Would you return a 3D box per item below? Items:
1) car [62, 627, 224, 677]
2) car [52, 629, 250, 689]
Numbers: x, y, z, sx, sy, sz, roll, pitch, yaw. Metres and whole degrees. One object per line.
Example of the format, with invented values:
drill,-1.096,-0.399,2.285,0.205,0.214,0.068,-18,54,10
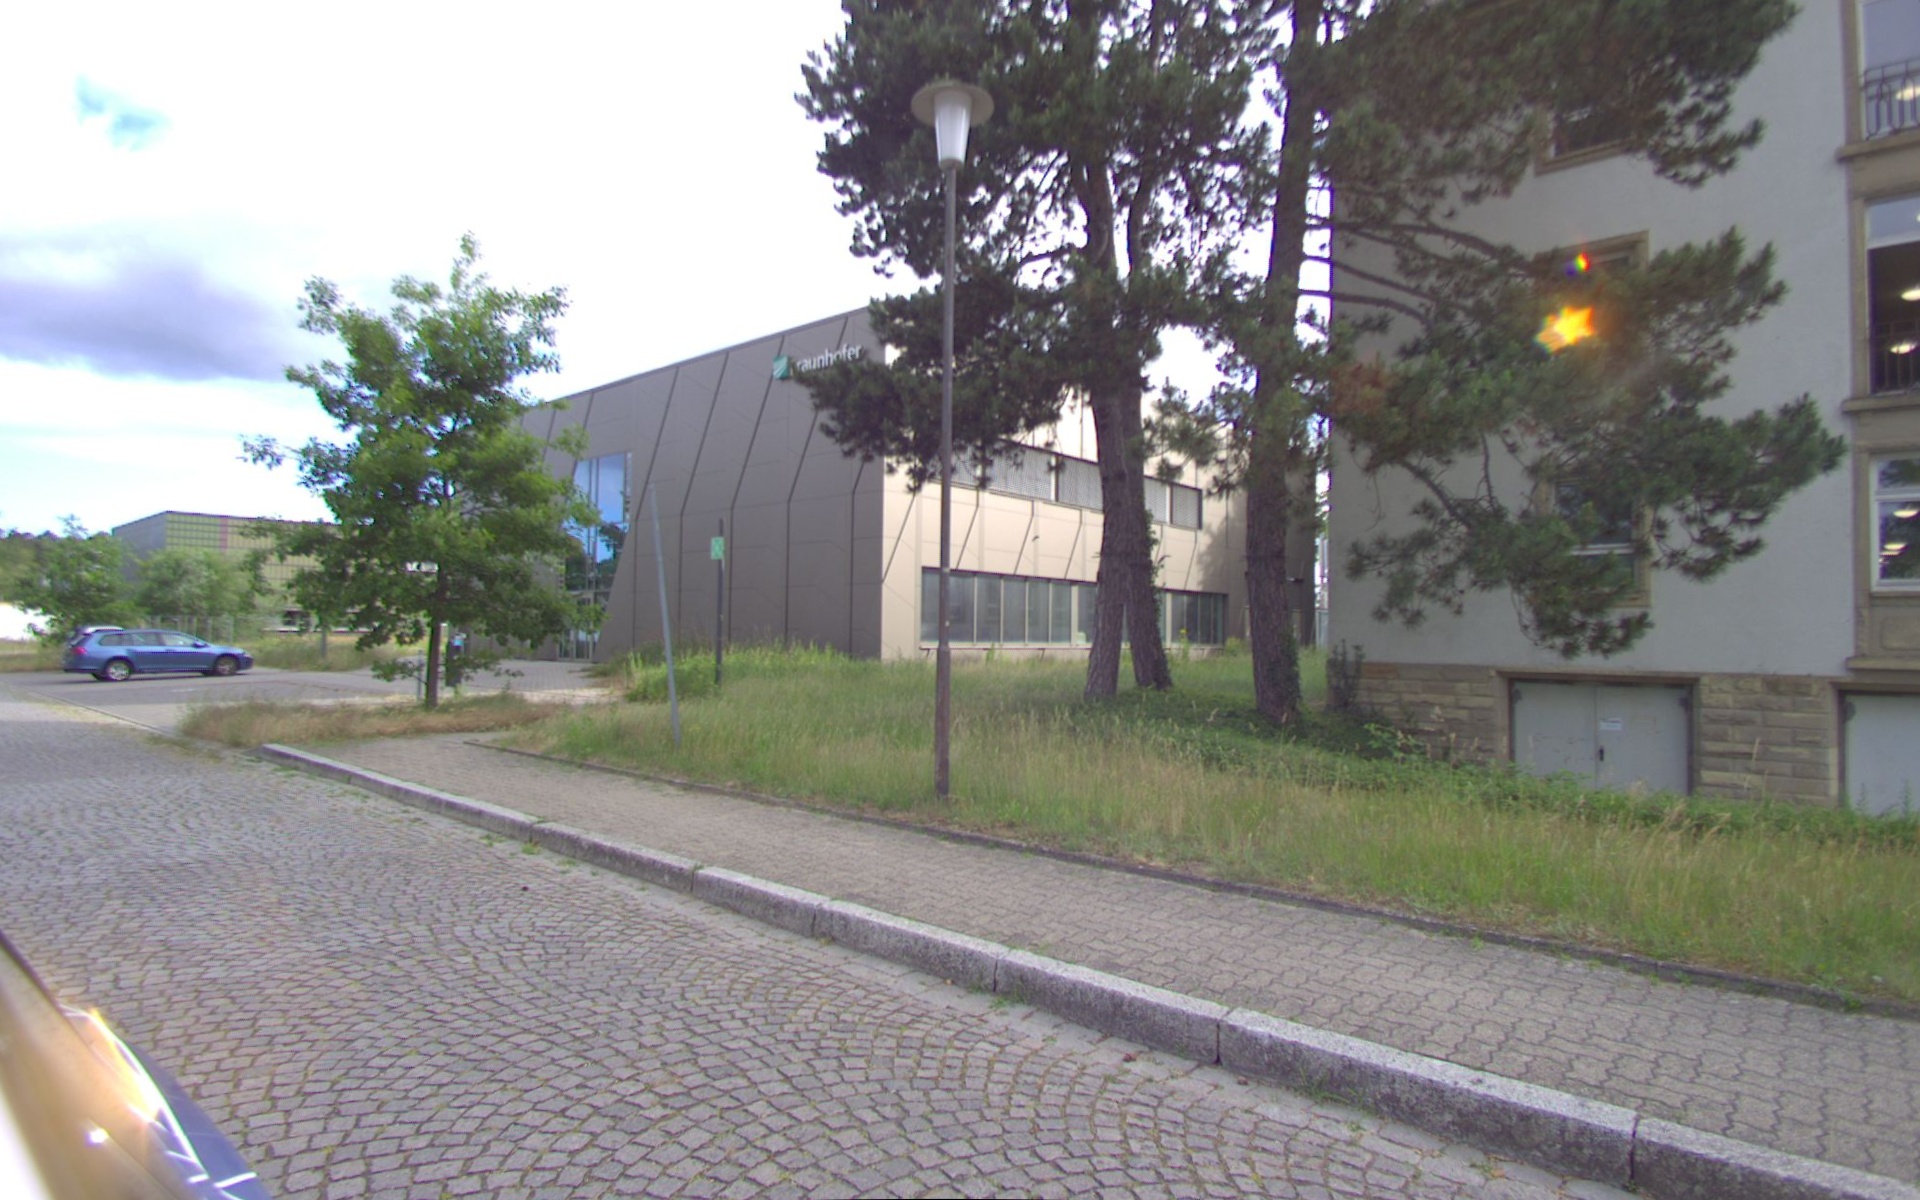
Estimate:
car,-28.740,1.790,35.690,4.339,1.557,1.843,0,-1,-43
car,-23.937,1.682,30.083,1.715,1.522,4.350,-1,0,38
